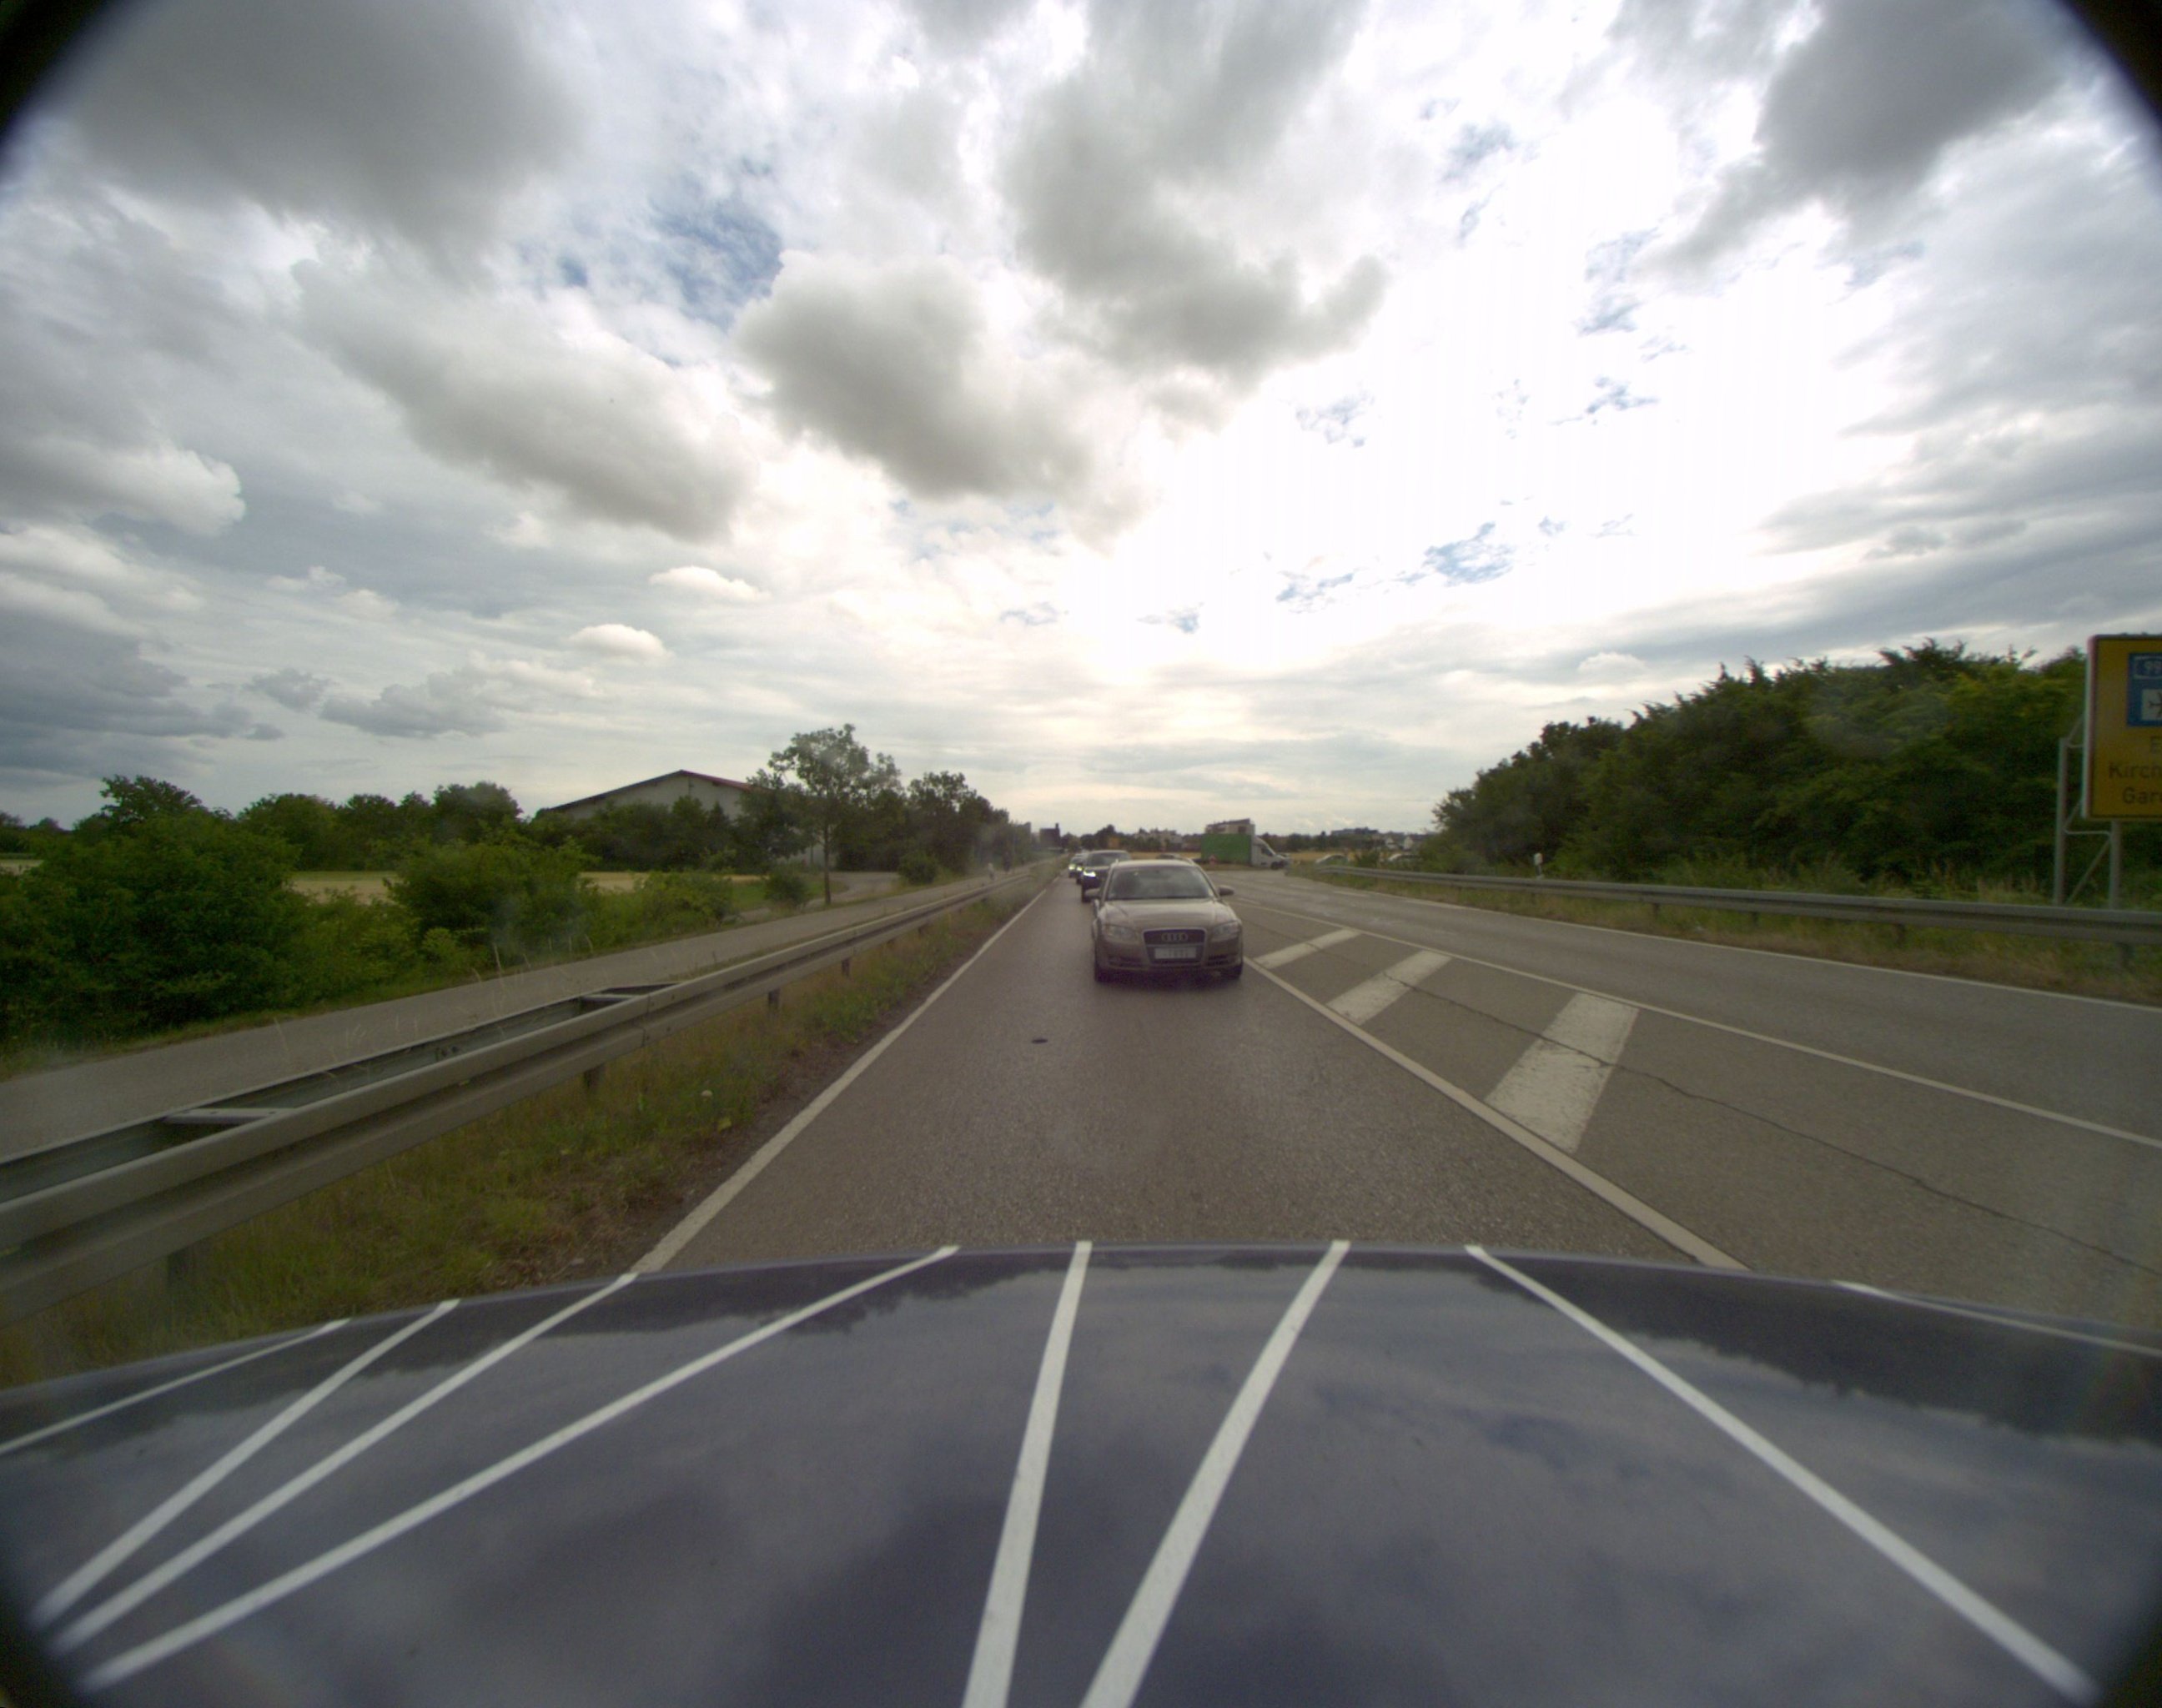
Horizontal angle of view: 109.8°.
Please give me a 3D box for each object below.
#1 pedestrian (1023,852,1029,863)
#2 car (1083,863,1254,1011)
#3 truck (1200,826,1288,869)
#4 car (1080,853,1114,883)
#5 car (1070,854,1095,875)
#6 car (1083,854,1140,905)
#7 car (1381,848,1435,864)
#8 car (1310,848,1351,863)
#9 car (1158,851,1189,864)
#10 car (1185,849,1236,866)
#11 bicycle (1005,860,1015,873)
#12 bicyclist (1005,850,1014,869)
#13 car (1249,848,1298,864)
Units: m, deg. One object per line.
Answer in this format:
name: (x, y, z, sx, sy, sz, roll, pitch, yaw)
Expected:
pedestrian: (-7.266, 0.444, 100.769, 0.592, 1.512, 0.501, -2, 1, 7)
car: (0.917, 0.887, 10.000, 1.730, 1.436, 4.204, -1, 0, 0)
truck: (14.740, -0.572, 69.171, 7.594, 3.541, 2.935, -2, 1, 9)
car: (0.812, 0.739, 41.620, 1.730, 1.478, 4.204, -1, 0, 0)
car: (0.105, 0.722, 54.542, 1.730, 1.436, 4.204, -2, 0, 0)
car: (0.952, 0.798, 25.693, 1.730, 1.534, 4.204, -2, 0, 0)
car: (32.896, 0.206, 76.587, 4.672, 1.490, 2.001, -1, 1, 8)
car: (25.447, 0.124, 77.468, 3.714, 1.490, 1.731, -1, 1, 7)
car: (10.474, 0.403, 86.220, 2.002, 1.481, 3.832, -1, 1, -19)
car: (13.337, 0.374, 78.542, 4.816, 1.680, 1.999, -1, 1, -4)
bicycle: (-6.010, 1.049, 64.171, 0.640, 0.972, 2.072, -1, 1, 0)
bicyclist: (-6.012, 0.492, 64.225, 0.640, 1.573, 0.969, -1, 1, 0)
car: (19.760, 0.200, 78.268, 4.673, 1.490, 2.001, -1, 1, 7)
